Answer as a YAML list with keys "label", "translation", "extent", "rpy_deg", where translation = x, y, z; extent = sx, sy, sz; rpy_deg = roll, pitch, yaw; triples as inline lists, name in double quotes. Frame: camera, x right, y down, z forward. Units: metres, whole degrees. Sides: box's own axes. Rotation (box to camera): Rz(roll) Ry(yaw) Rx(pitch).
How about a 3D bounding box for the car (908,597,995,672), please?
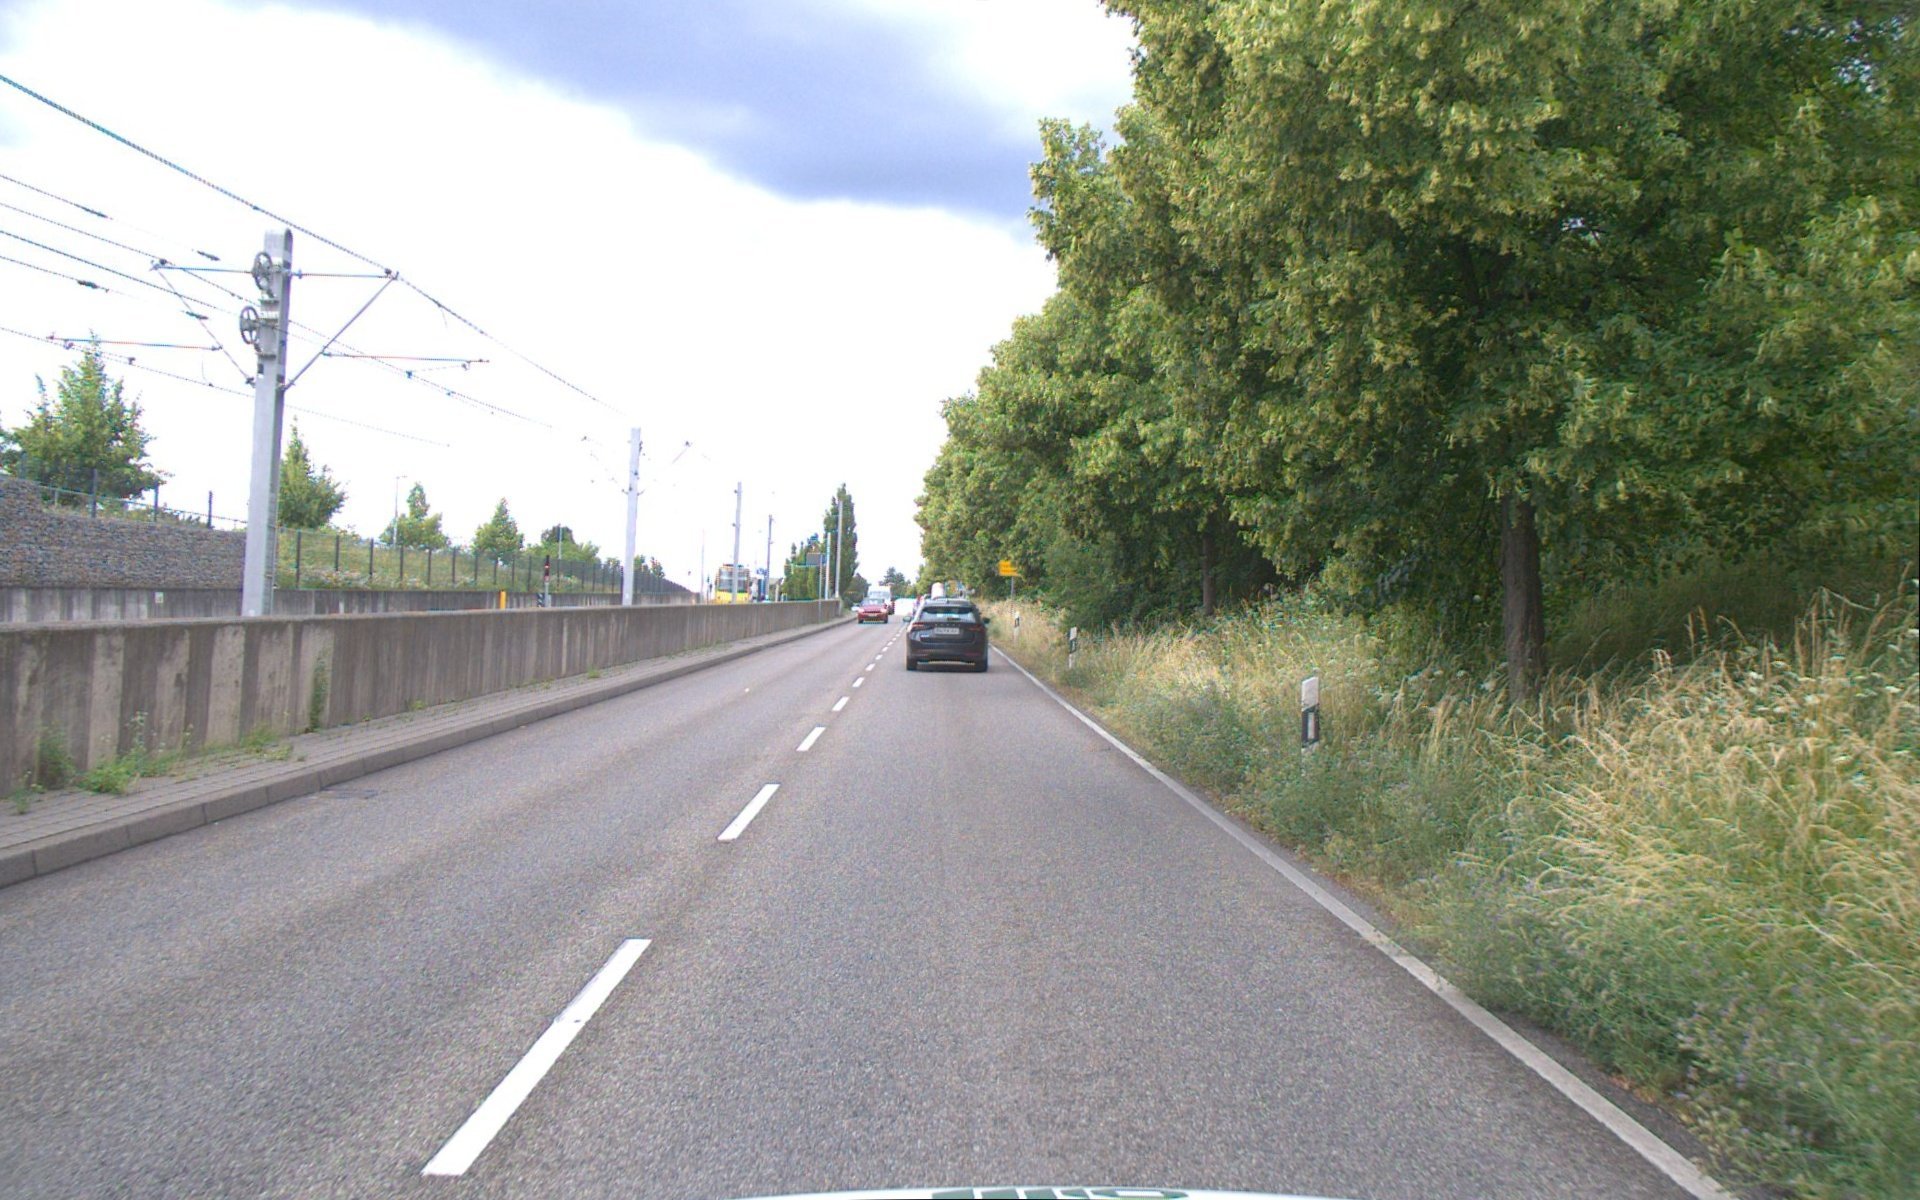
- label: "car"
  translation: [-0.214, 0.690, 35.717]
  extent: [1.745, 1.493, 3.999]
  rpy_deg: [1, 0, -1]

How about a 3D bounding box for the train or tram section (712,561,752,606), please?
- label: "train or tram section"
  translation: [-18.454, -1.189, 133.007]
  extent: [2.760, 3.172, 18.873]
  rpy_deg: [1, -1, -9]

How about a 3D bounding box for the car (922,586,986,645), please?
- label: "car"
  translation: [-0.220, 0.469, 53.382]
  extent: [1.953, 1.783, 3.999]
  rpy_deg: [1, 0, -1]

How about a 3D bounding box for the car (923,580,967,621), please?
- label: "car"
  translation: [-0.698, 0.042, 75.206]
  extent: [1.953, 1.771, 3.999]
  rpy_deg: [1, -1, -1]

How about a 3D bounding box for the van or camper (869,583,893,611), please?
- label: "van or camper"
  translation: [-7.052, -0.230, 147.980]
  extent: [2.040, 2.438, 6.135]
  rpy_deg: [1, 0, -1]

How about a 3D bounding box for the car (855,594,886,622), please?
- label: "car"
  translation: [-5.143, 0.453, 95.486]
  extent: [1.629, 1.572, 3.951]
  rpy_deg: [0, 0, -2]
